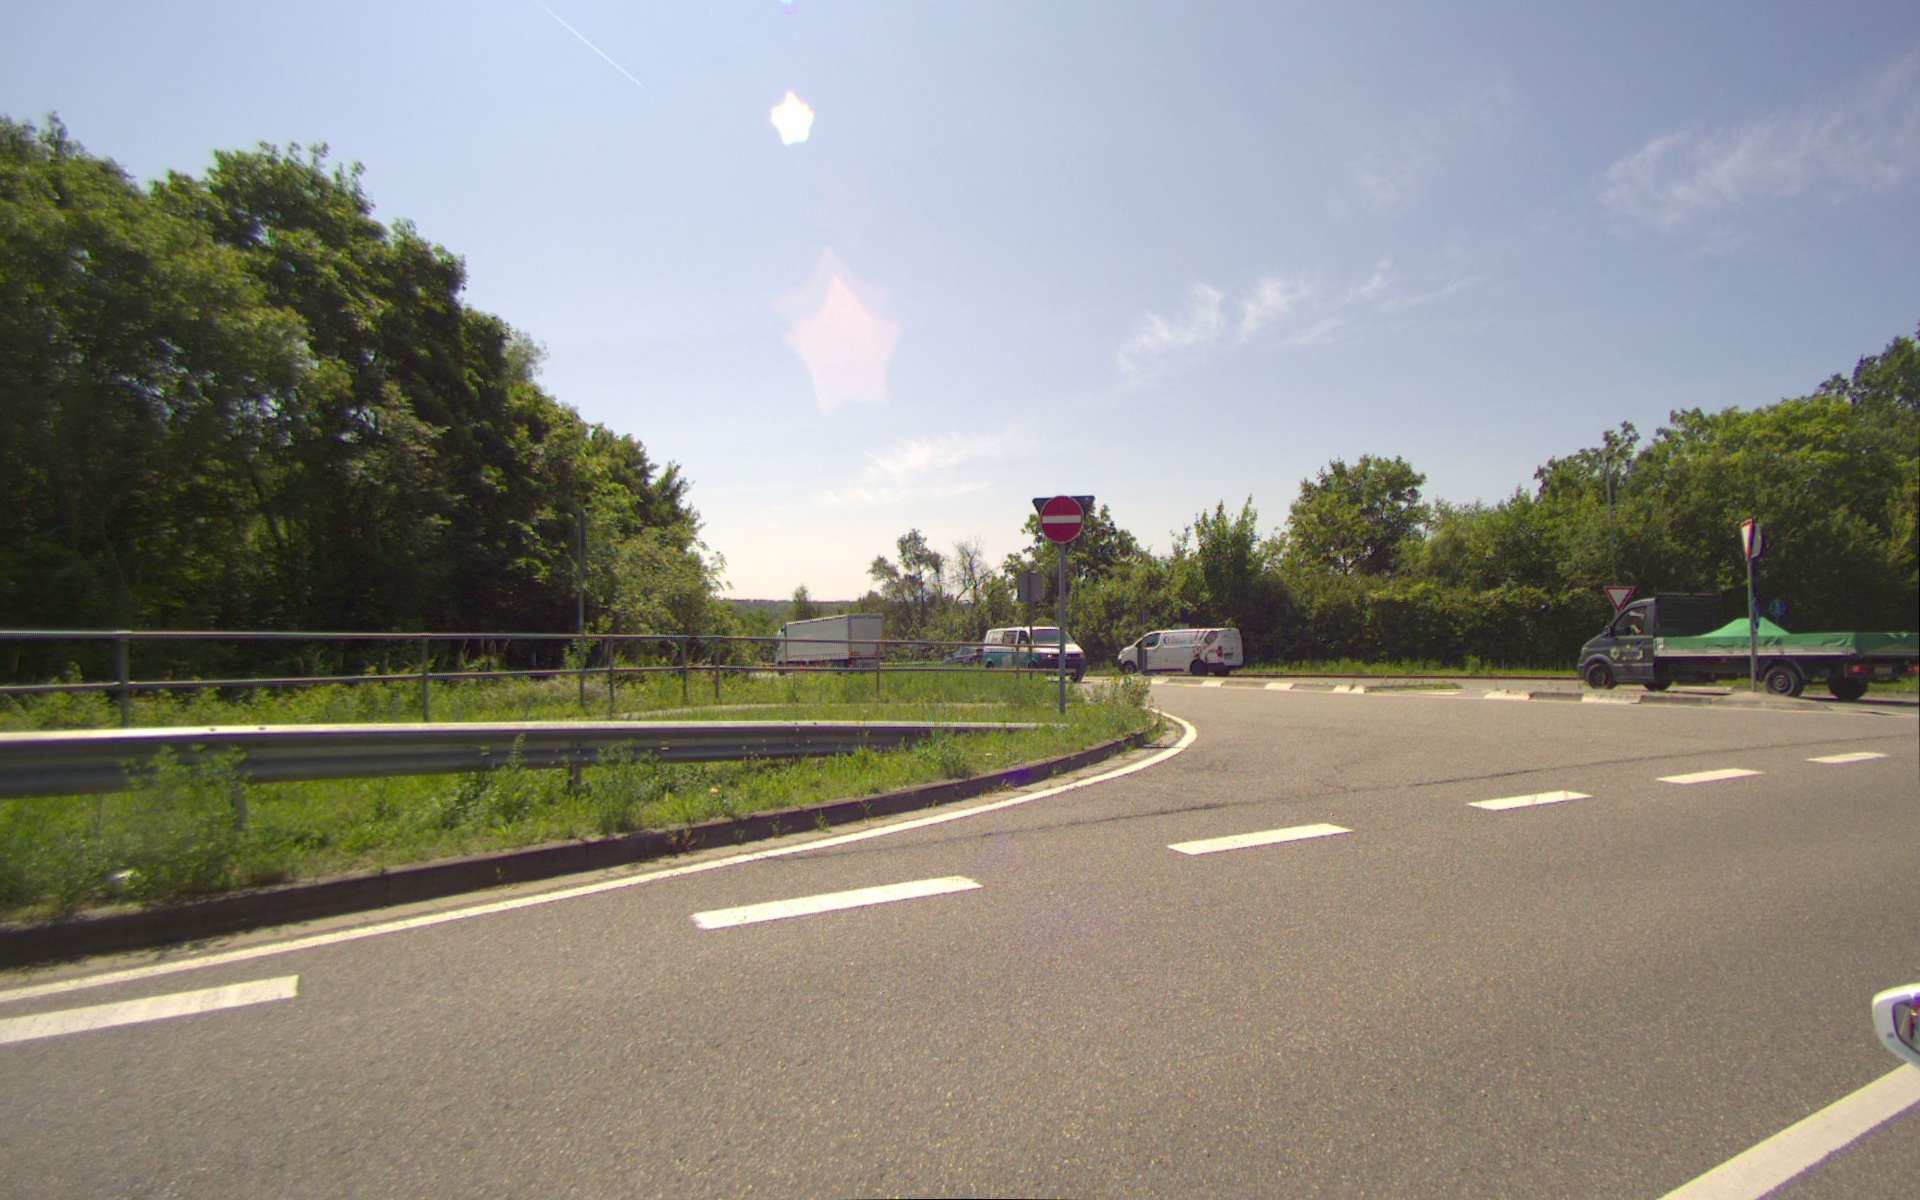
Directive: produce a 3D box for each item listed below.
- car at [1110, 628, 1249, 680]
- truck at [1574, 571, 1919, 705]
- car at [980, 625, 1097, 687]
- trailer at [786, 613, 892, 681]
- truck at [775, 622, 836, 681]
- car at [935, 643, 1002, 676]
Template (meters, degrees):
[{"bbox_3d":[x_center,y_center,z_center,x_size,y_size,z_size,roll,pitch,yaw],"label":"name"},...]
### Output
[{"bbox_3d":[8.703,2.169,40.140,5.125,1.949,2.004,-4,-3,44],"label":"car"},{"bbox_3d":[17.629,0.891,22.921,2.109,2.598,6.623,1,-3,-13],"label":"truck"},{"bbox_3d":[2.694,2.032,35.934,1.972,2.054,5.160,1,-4,-24],"label":"car"},{"bbox_3d":[-8.944,3.543,71.727,2.960,4.330,13.702,1,-4,-27],"label":"trailer"},{"bbox_3d":[-12.007,4.028,77.684,2.960,4.330,5.890,1,-4,-27],"label":"truck"},{"bbox_3d":[0.391,3.110,52.283,1.749,1.616,3.899,1,-5,-30],"label":"car"}]
